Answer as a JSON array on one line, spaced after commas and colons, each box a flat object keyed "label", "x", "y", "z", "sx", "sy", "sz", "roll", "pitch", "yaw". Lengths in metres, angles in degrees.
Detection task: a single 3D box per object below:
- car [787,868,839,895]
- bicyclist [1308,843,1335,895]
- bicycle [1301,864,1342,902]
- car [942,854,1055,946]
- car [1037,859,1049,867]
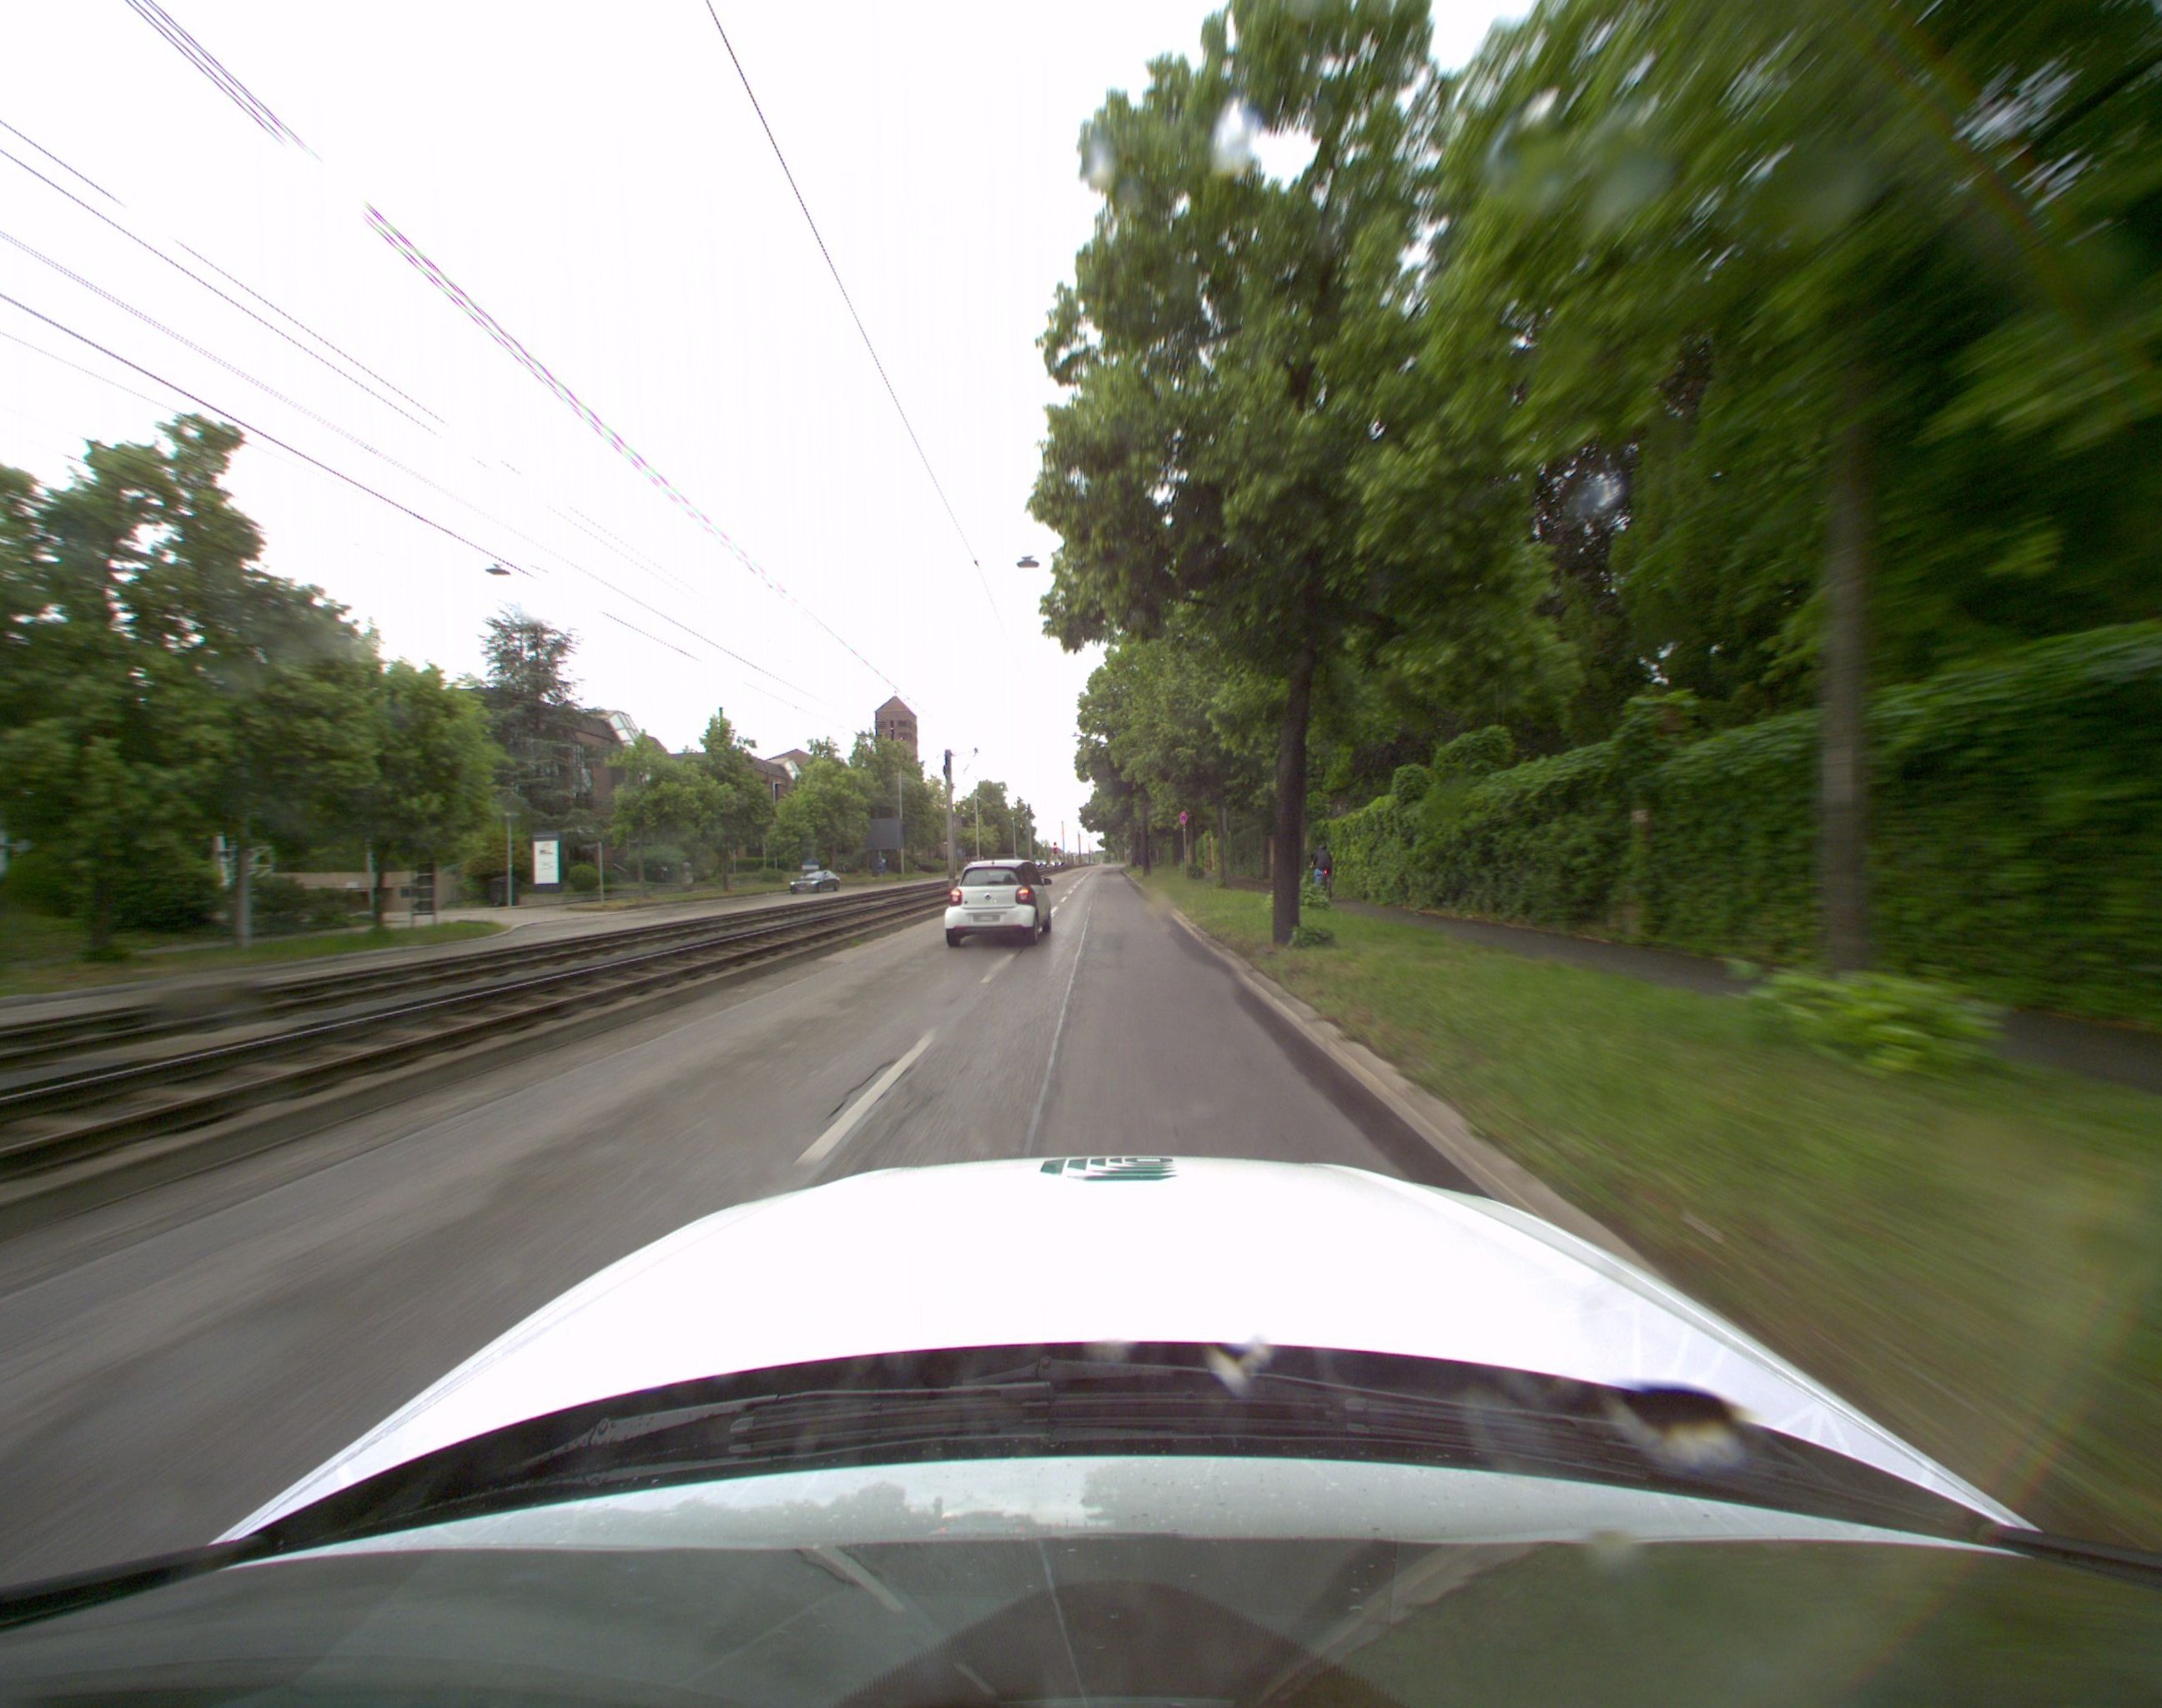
[{"label": "car", "x": -17.577, "y": 1.749, "z": 53.568, "sx": 1.788, "sy": 1.530, "sz": 4.622, "roll": -3, "pitch": 0, "yaw": 0}, {"label": "bicyclist", "x": 6.672, "y": 0.405, "z": 22.627, "sx": 0.532, "sy": 1.389, "sz": 0.667, "roll": -3, "pitch": 0, "yaw": 4}, {"label": "bicycle", "x": 6.697, "y": 0.790, "z": 22.781, "sx": 0.540, "sy": 0.948, "sz": 2.553, "roll": -3, "pitch": 0, "yaw": 5}, {"label": "car", "x": -1.499, "y": 0.798, "z": 16.035, "sx": 1.670, "sy": 1.531, "sz": 3.723, "roll": -3, "pitch": 0, "yaw": 1}, {"label": "car", "x": -8.691, "y": 1.946, "z": 184.758, "sx": 2.003, "sy": 1.656, "sz": 4.624, "roll": -3, "pitch": 0, "yaw": 6}]
